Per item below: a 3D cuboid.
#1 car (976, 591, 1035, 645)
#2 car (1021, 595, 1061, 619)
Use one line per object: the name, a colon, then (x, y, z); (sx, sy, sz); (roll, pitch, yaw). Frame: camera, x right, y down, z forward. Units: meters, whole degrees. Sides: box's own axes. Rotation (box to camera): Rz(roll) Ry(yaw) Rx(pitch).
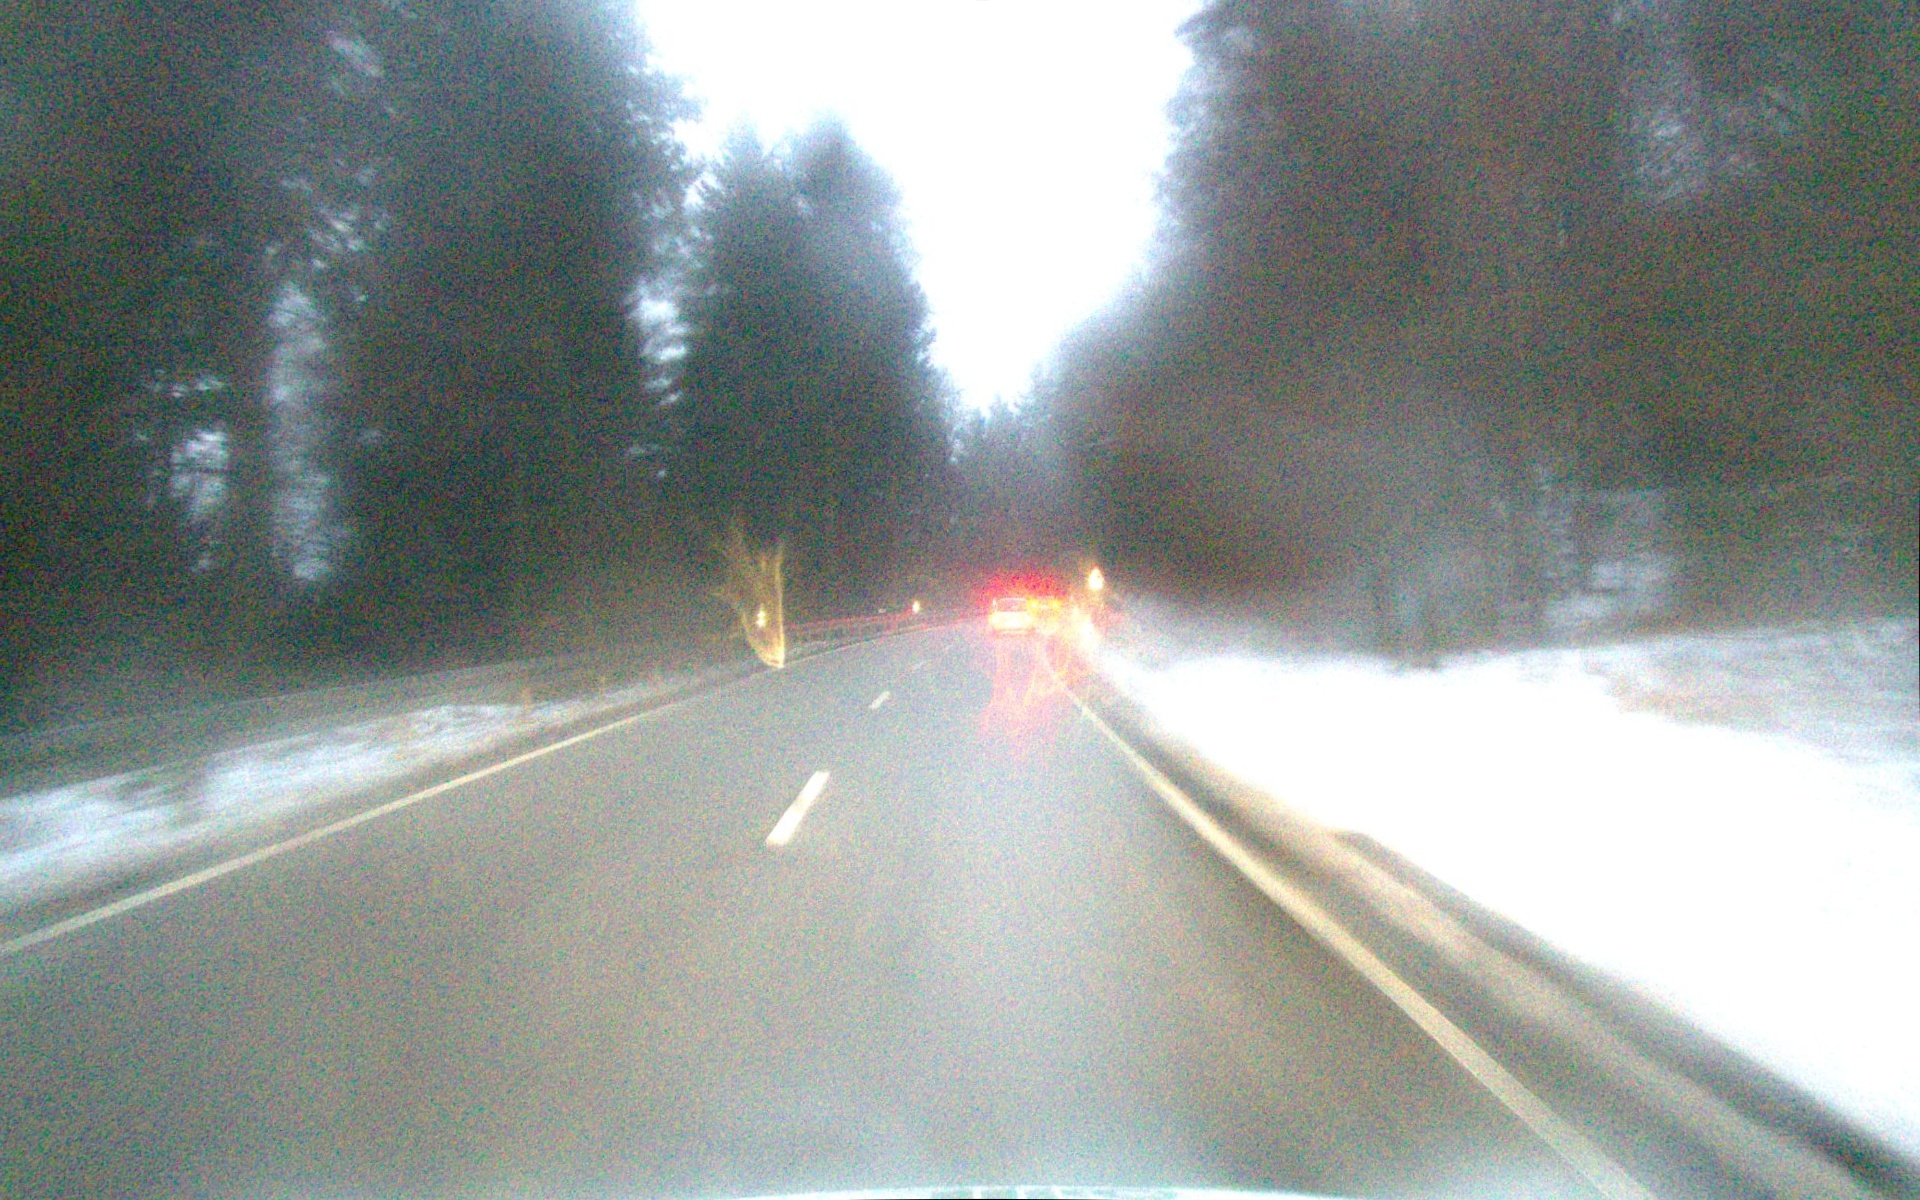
car: (1.781, 0.647, 63.453); (1.952, 1.905, 4.002); (-3, 0, 5)
car: (4.910, 0.440, 100.846); (1.954, 1.333, 3.997); (-3, 0, -3)
